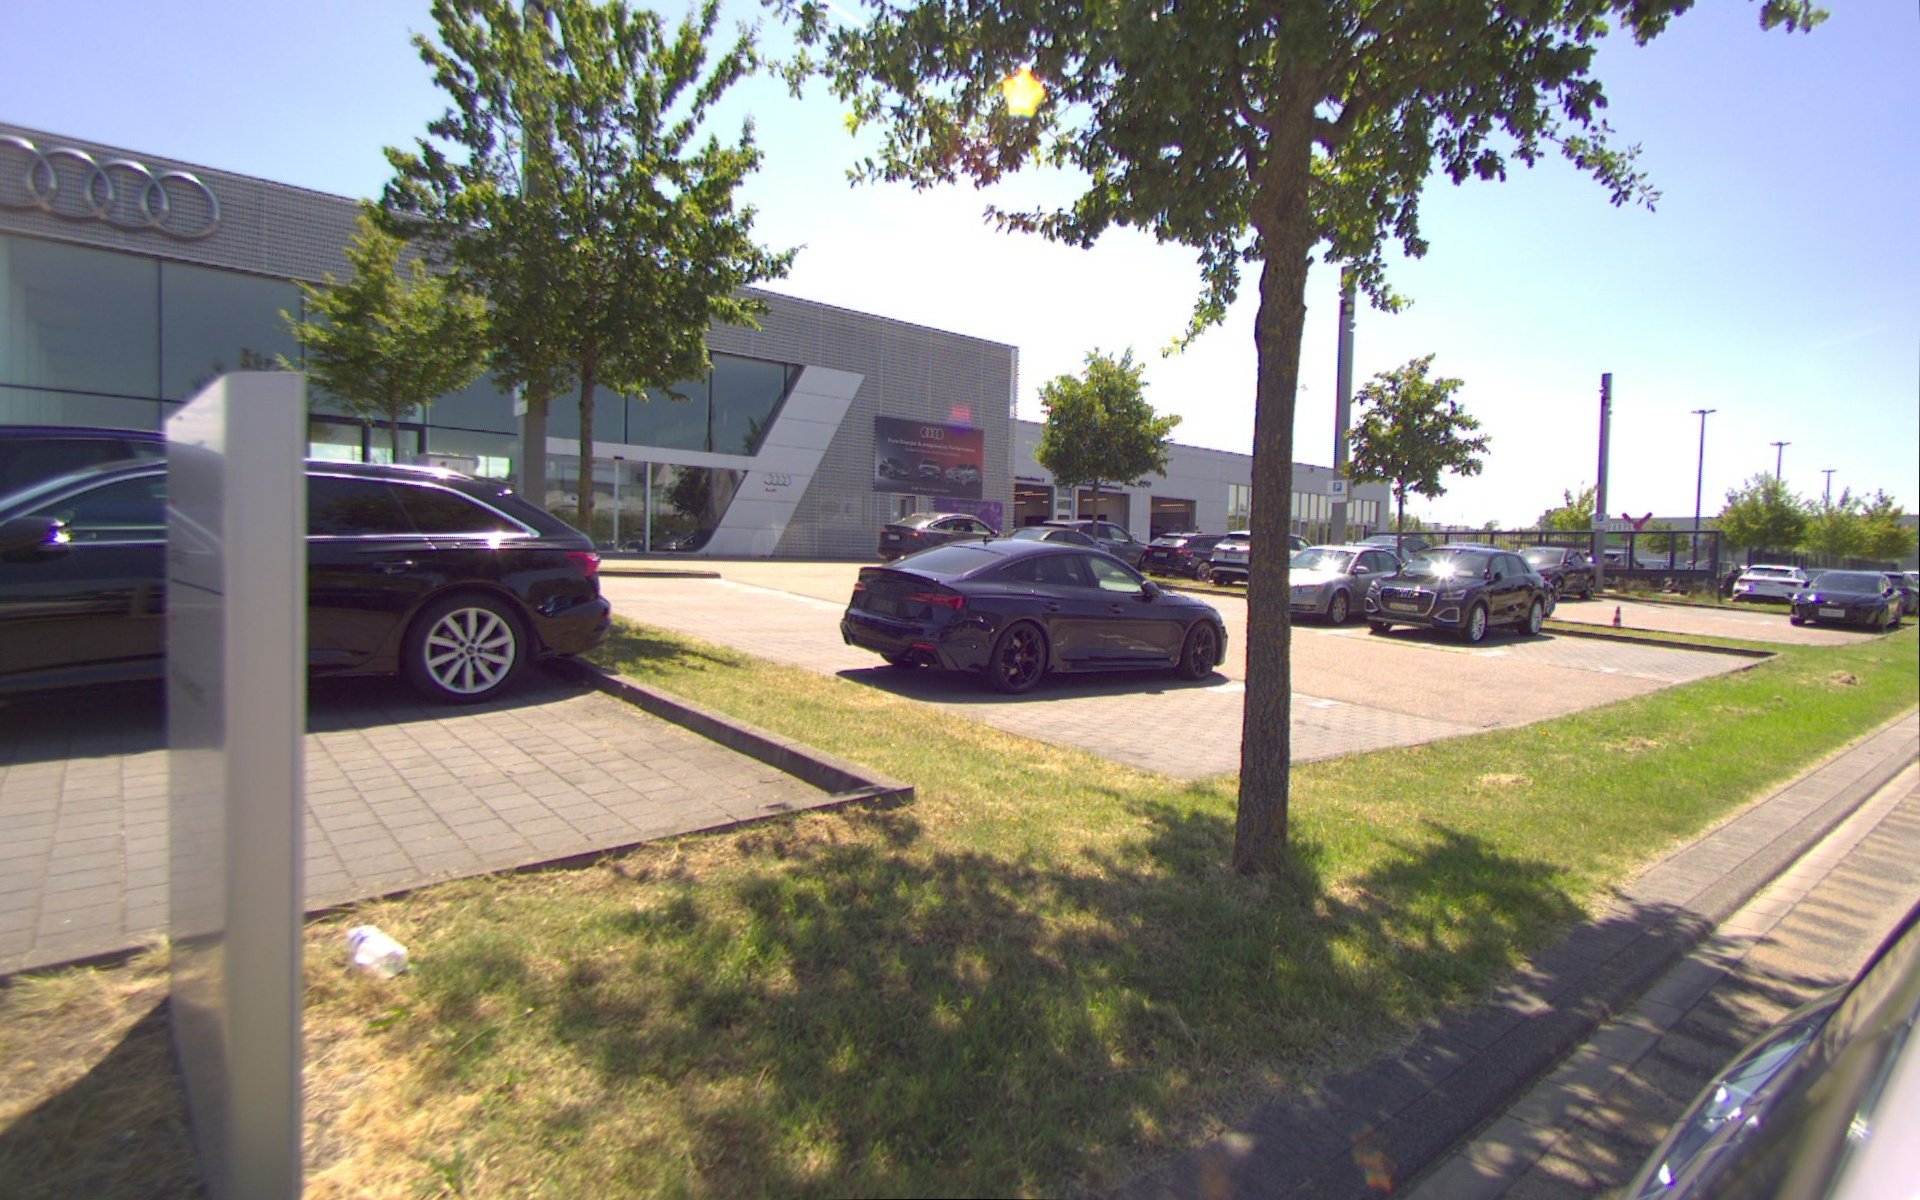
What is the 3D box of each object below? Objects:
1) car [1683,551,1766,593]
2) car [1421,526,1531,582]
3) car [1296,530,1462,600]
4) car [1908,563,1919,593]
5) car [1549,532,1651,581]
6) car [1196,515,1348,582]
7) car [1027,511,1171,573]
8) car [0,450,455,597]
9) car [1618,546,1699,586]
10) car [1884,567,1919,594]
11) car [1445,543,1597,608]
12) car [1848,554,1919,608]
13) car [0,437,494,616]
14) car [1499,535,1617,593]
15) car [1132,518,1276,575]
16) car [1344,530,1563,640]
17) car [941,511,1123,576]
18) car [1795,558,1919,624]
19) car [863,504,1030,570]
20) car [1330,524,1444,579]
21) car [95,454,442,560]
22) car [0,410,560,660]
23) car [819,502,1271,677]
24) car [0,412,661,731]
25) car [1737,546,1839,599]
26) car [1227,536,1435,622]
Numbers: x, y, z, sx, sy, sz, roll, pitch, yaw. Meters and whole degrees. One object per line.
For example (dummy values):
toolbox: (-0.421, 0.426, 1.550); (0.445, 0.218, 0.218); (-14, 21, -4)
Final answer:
car: (33.490, -1.211, 44.281); (4.547, 1.649, 1.965); (-1, 5, -42)
car: (17.728, -1.558, 34.681); (4.341, 1.714, 1.829); (-1, 6, -42)
car: (10.901, -0.908, 26.132); (4.920, 1.571, 1.965); (-1, 5, -42)
car: (57.121, -1.248, 59.183); (4.317, 1.666, 1.825); (-1, 5, -39)
car: (23.944, -1.619, 37.803); (4.547, 1.649, 1.965); (-1, 5, -42)
car: (8.437, -1.360, 27.222); (4.215, 1.632, 1.965); (-1, 5, -42)
car: (4.512, -1.832, 32.423); (4.648, 1.759, 1.965); (-1, 5, -42)
car: (-8.920, -0.915, 12.012); (4.900, 1.473, 1.966); (-3, 6, -41)
car: (32.166, -1.556, 46.573); (4.547, 1.649, 1.965); (-1, 5, -42)
car: (52.358, -1.085, 55.508); (4.097, 1.373, 1.780); (-1, 5, -39)
car: (13.946, -0.590, 25.076); (4.237, 1.391, 1.965); (0, 4, -42)
car: (29.061, -0.594, 31.137); (4.860, 1.485, 1.965); (-1, 5, -42)
car: (-7.480, -0.735, 9.969); (4.900, 1.473, 1.966); (-3, 6, -41)
car: (19.327, -1.183, 32.608); (4.704, 1.662, 1.829); (-2, 7, -42)
car: (7.213, -1.545, 29.735); (4.297, 1.494, 1.965); (-1, 5, -42)
car: (8.632, -0.305, 17.572); (4.155, 1.589, 1.892); (-1, 6, -42)
car: (1.853, -1.380, 25.167); (4.390, 1.382, 1.966); (-1, 6, -42)
car: (23.892, -0.270, 26.841); (4.938, 1.472, 1.883); (-1, 6, -42)
car: (-0.334, -1.751, 28.420); (4.347, 1.610, 1.968); (0, 6, -39)
car: (15.579, -1.738, 36.837); (4.547, 1.762, 1.966); (-1, 7, -42)
car: (-12.178, -1.620, 18.069); (4.900, 1.639, 1.966); (-3, 6, -41)
car: (-6.005, -0.557, 8.041); (4.900, 1.616, 1.966); (-3, 7, -41)
car: (1.057, -0.138, 10.572); (4.638, 1.382, 1.967); (1, 5, -41)
car: (-4.486, -0.234, 5.932); (4.900, 1.473, 1.966); (-3, 6, -41)
car: (27.462, -0.912, 33.513); (4.860, 1.546, 1.823); (-1, 5, -42)
car: (7.205, -0.430, 19.486); (4.155, 1.382, 1.966); (-1, 6, -42)
